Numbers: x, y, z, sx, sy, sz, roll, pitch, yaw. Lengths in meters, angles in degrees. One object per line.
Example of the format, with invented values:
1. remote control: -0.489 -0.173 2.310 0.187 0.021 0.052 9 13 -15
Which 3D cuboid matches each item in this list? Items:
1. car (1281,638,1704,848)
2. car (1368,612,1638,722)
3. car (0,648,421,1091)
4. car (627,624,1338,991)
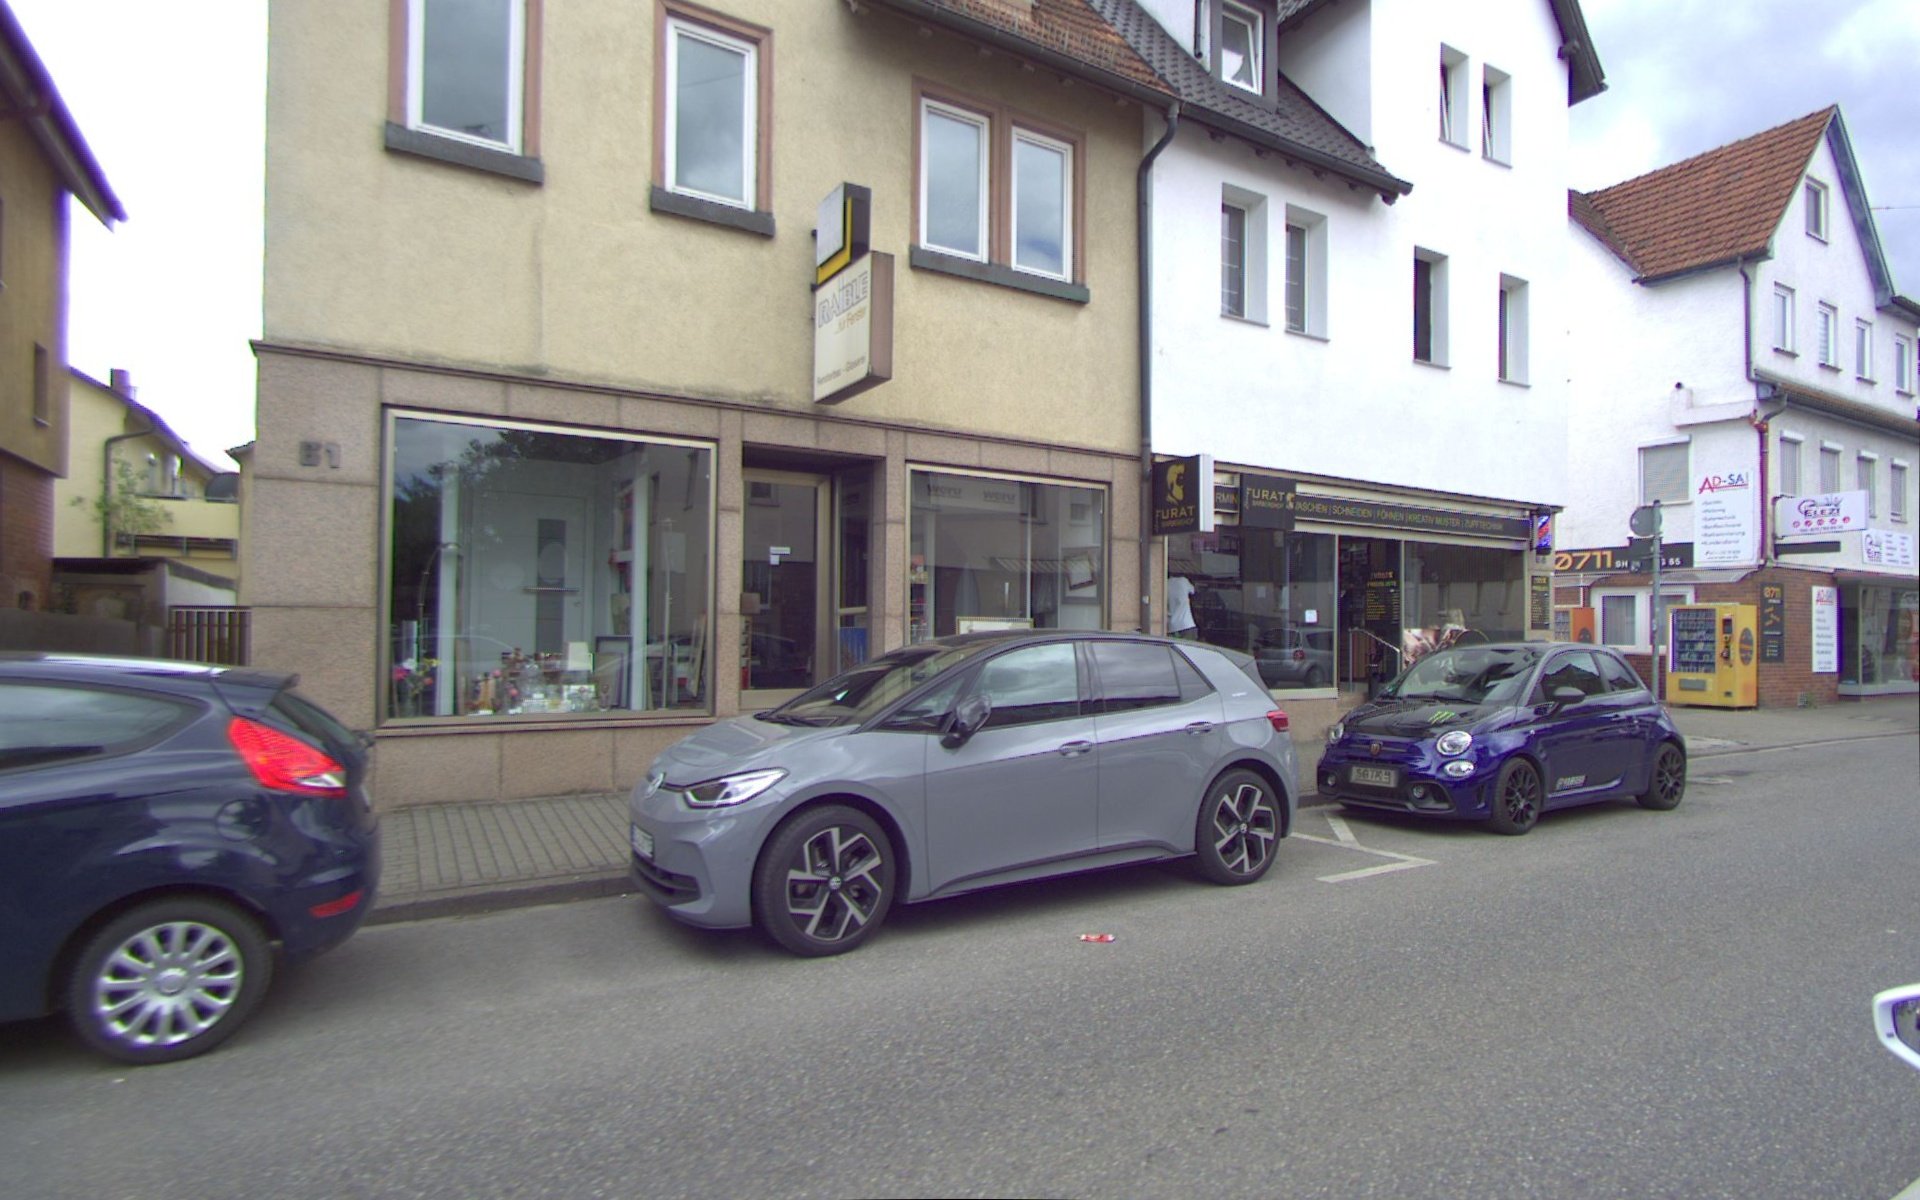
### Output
1. car: 4.744 1.107 8.901 3.548 1.512 1.675 1 -3 -30
2. car: 9.577 1.098 18.095 1.970 1.725 3.981 1 -1 -20
3. car: -4.201 0.907 3.640 3.886 1.443 1.674 1 -3 -31
4. car: 0.231 0.978 6.139 4.064 1.586 1.702 1 -3 -30
